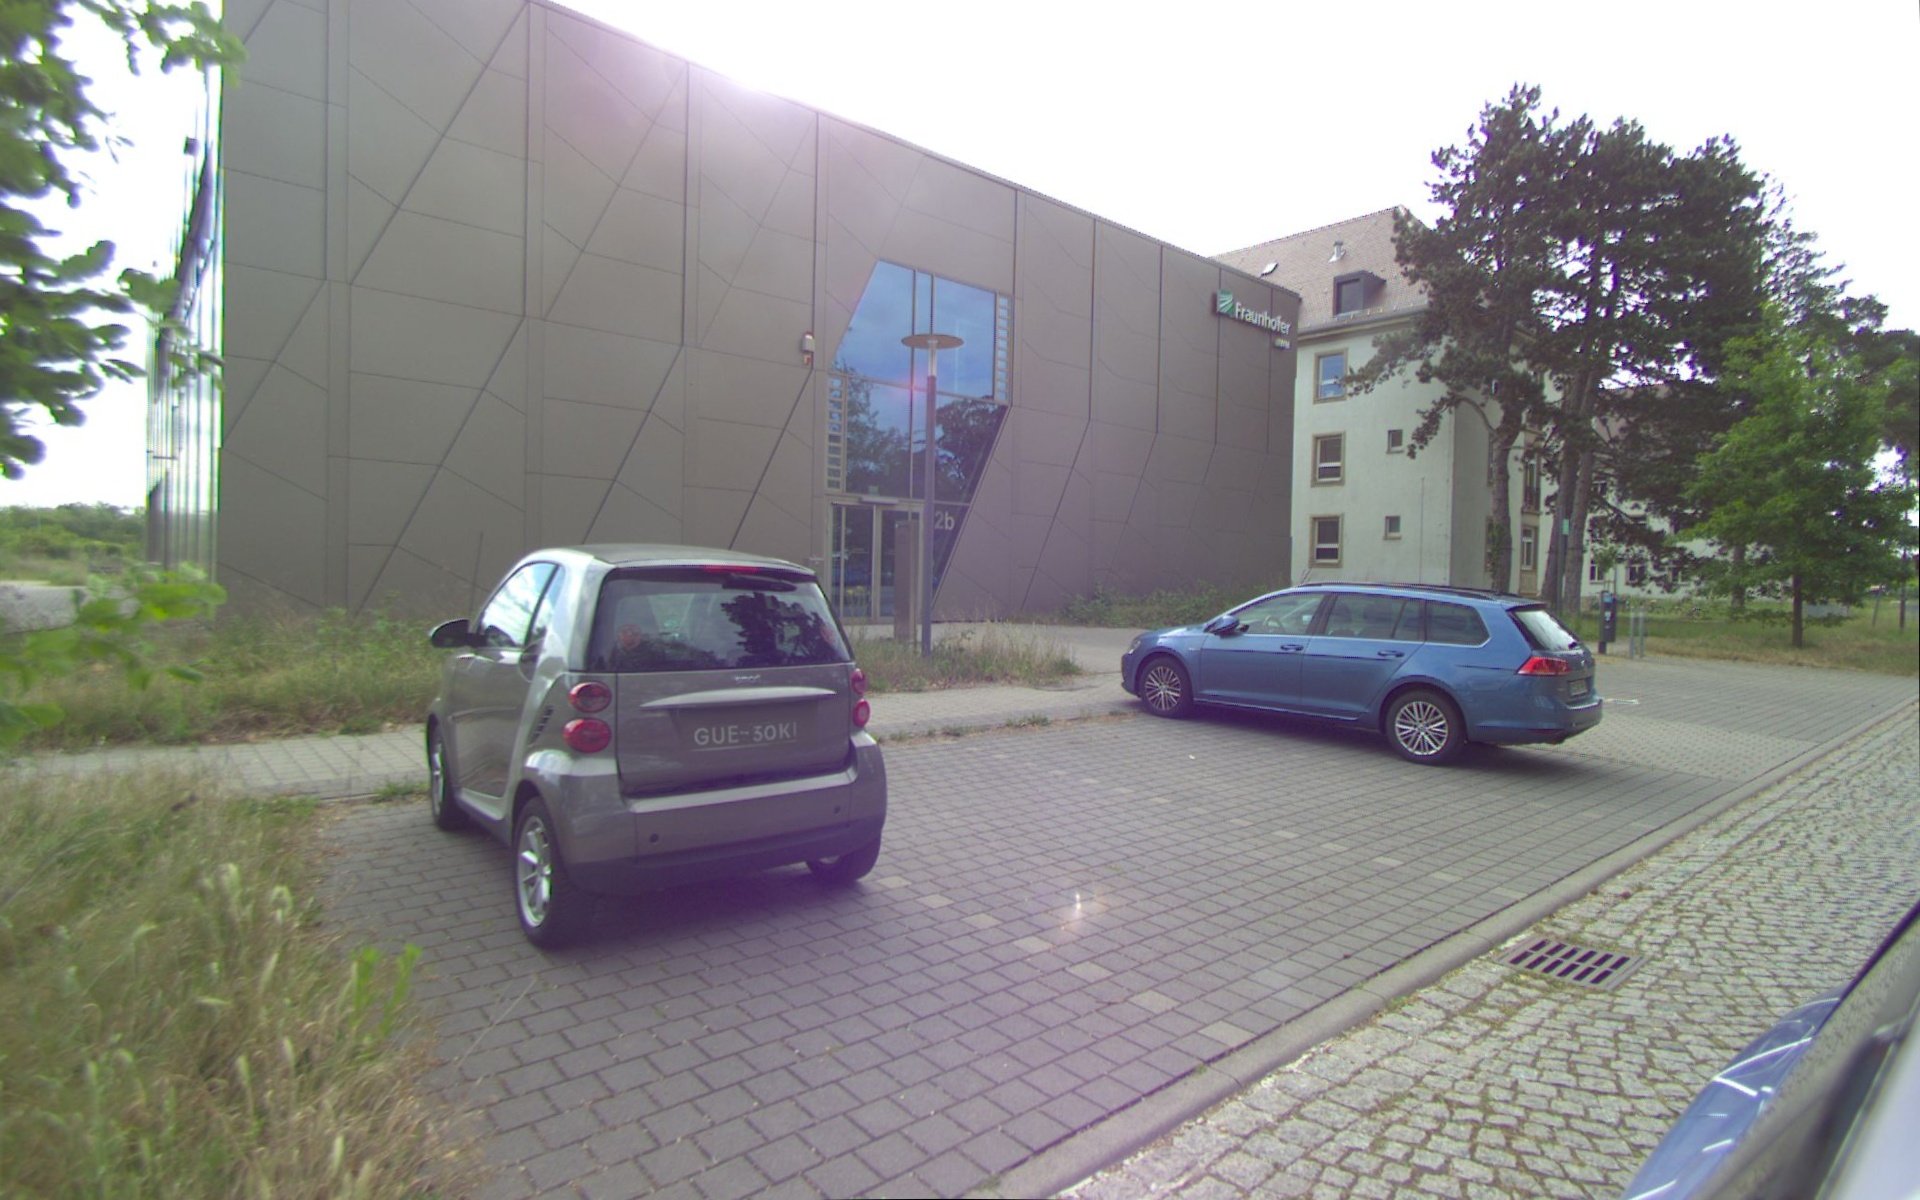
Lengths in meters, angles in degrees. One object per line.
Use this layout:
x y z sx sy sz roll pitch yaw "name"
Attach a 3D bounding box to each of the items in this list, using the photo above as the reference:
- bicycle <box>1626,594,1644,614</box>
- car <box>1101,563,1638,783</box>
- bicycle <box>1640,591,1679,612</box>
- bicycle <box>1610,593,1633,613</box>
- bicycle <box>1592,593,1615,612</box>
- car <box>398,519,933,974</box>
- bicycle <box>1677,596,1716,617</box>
39.202 0.216 58.745 1.628 1.142 0.476 0 1 -43 "bicycle"
3.740 0.498 9.924 1.800 1.493 4.497 0 4 -43 "car"
39.027 0.085 56.482 0.603 1.099 1.655 1 1 -39 "bicycle"
38.626 0.182 59.065 1.670 1.142 0.477 1 1 -33 "bicycle"
38.061 0.151 59.860 1.697 1.142 0.448 1 1 -33 "bicycle"
-1.637 0.442 5.130 1.624 1.575 2.717 1 4 -40 "car"
40.231 0.359 55.288 0.604 1.099 1.653 0 1 -44 "bicycle"
